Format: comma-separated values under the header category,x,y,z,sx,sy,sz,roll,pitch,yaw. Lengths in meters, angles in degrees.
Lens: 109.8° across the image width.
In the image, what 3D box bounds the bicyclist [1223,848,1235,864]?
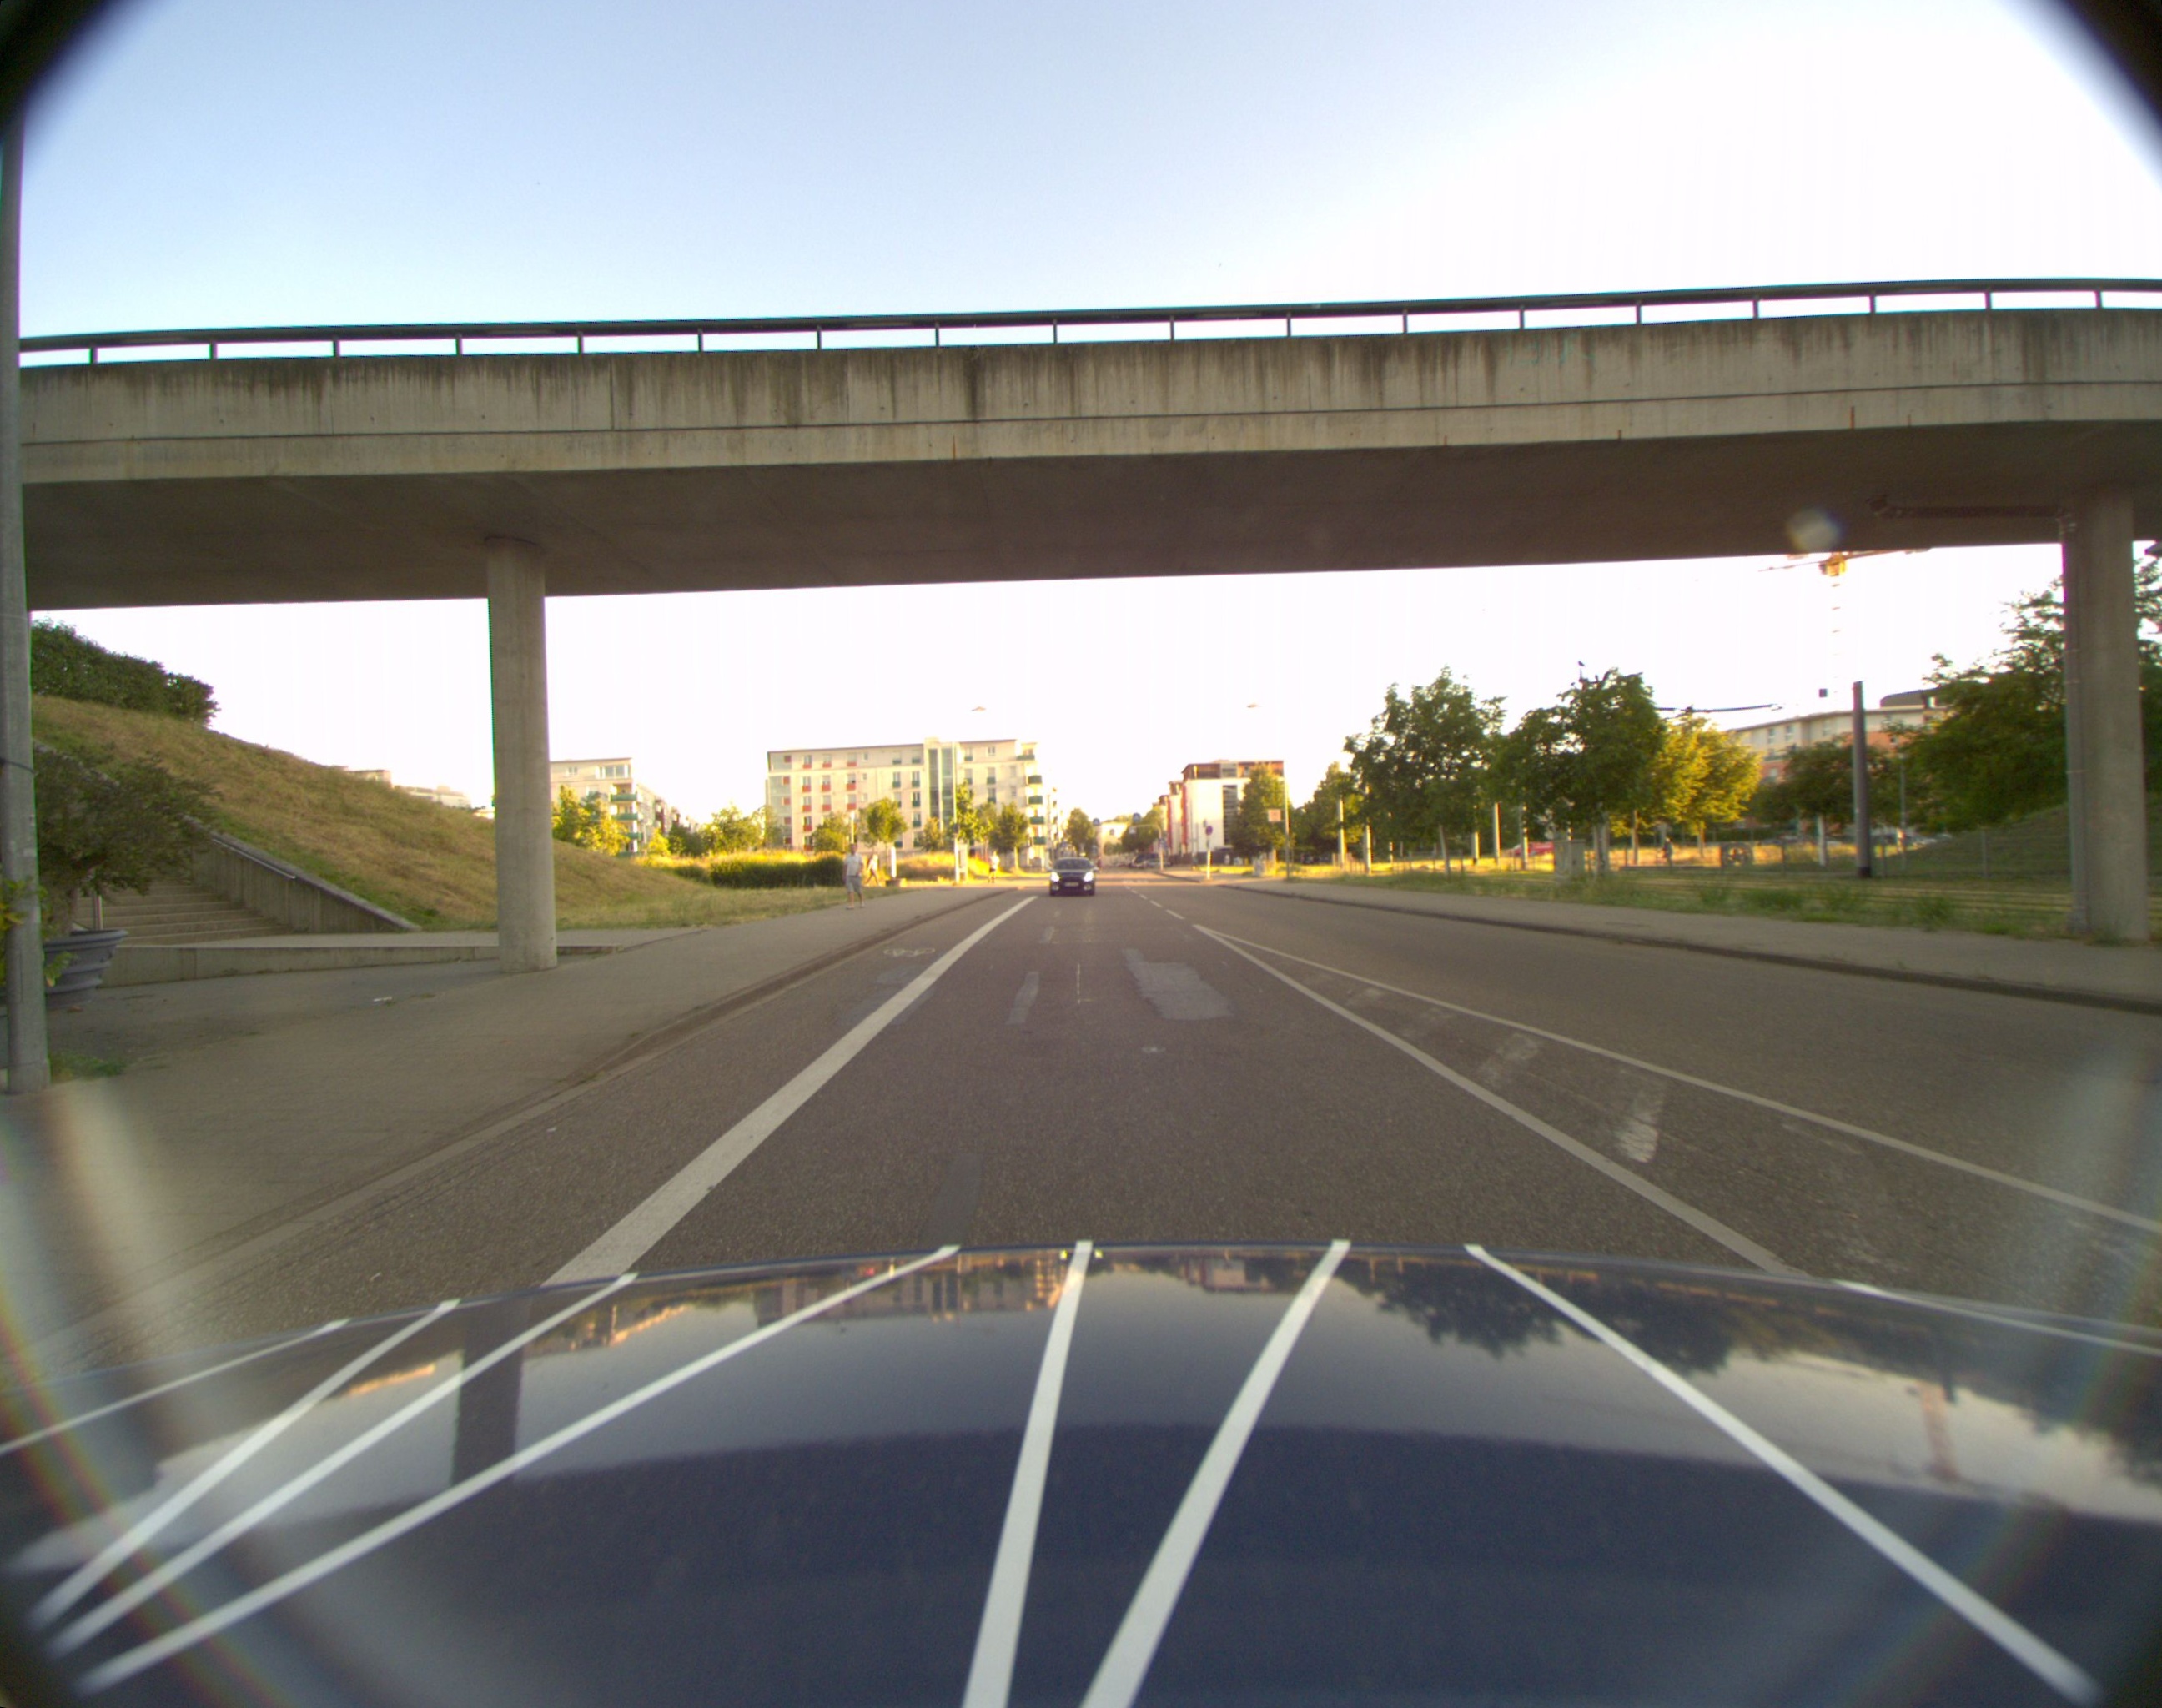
category,x,y,z,sx,sy,sz,roll,pitch,yaw
bicyclist,17.710,0.260,90.926,1.034,1.865,0.883,-1,1,-9

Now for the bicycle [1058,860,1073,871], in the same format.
category,x,y,z,sx,sy,sz,roll,pitch,yaw
bicycle,-1.667,1.239,81.041,0.901,1.142,3.494,-2,0,-14

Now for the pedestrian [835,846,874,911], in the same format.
category,x,y,z,sx,sy,sz,roll,pitch,yaw
pedestrian,-6.038,0.640,20.294,0.737,1.714,0.906,0,0,1

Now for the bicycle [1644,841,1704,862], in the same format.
category,x,y,z,sx,sy,sz,roll,pitch,yaw
bicycle,32.343,-0.140,41.447,2.842,1.002,0.655,-2,0,-3

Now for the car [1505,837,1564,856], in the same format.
category,x,y,z,sx,sy,sz,roll,pitch,yaw
car,52.985,-0.849,88.806,5.517,2.002,2.002,-2,0,11

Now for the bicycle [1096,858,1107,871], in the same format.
category,x,y,z,sx,sy,sz,roll,pitch,yaw
bicycle,2.041,1.047,75.029,0.662,1.217,2.438,-2,0,-7

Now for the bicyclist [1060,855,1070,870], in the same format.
category,x,y,z,sx,sy,sz,roll,pitch,yaw
bicyclist,-1.746,0.927,81.228,0.933,1.585,1.067,-2,0,-8

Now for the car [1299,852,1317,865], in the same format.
category,x,y,z,sx,sy,sz,roll,pitch,yaw
car,29.002,0.567,97.199,1.942,1.521,4.004,-2,0,14

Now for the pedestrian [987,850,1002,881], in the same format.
category,x,y,z,sx,sy,sz,roll,pitch,yaw
pedestrian,-4.825,0.657,42.437,0.737,1.714,0.532,0,0,1

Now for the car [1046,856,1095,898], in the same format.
category,x,y,z,sx,sy,sz,roll,pitch,yaw
car,-0.337,0.842,29.746,1.739,1.455,4.000,-2,0,1

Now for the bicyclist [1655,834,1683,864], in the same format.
category,x,y,z,sx,sy,sz,roll,pitch,yaw
bicyclist,32.117,-0.265,41.512,0.909,1.622,0.717,-2,0,-4

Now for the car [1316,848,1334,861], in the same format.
category,x,y,z,sx,sy,sz,roll,pitch,yaw
car,31.046,0.012,96.771,1.942,1.521,4.004,-2,0,14

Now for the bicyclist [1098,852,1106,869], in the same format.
category,x,y,z,sx,sy,sz,roll,pitch,yaw
bicyclist,2.075,0.657,74.948,0.697,1.630,0.851,-2,0,-6

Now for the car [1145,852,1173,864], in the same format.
category,x,y,z,sx,sy,sz,roll,pitch,yaw
car,11.746,0.559,114.078,3.996,1.718,2.000,-2,0,2

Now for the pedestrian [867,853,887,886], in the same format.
category,x,y,z,sx,sy,sz,roll,pitch,yaw
pedestrian,-10.392,0.785,38.709,0.737,1.620,0.859,0,0,2

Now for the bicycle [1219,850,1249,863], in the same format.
category,x,y,z,sx,sy,sz,roll,pitch,yaw
bicycle,18.336,0.303,91.181,3.321,1.483,0.887,-2,0,-10
